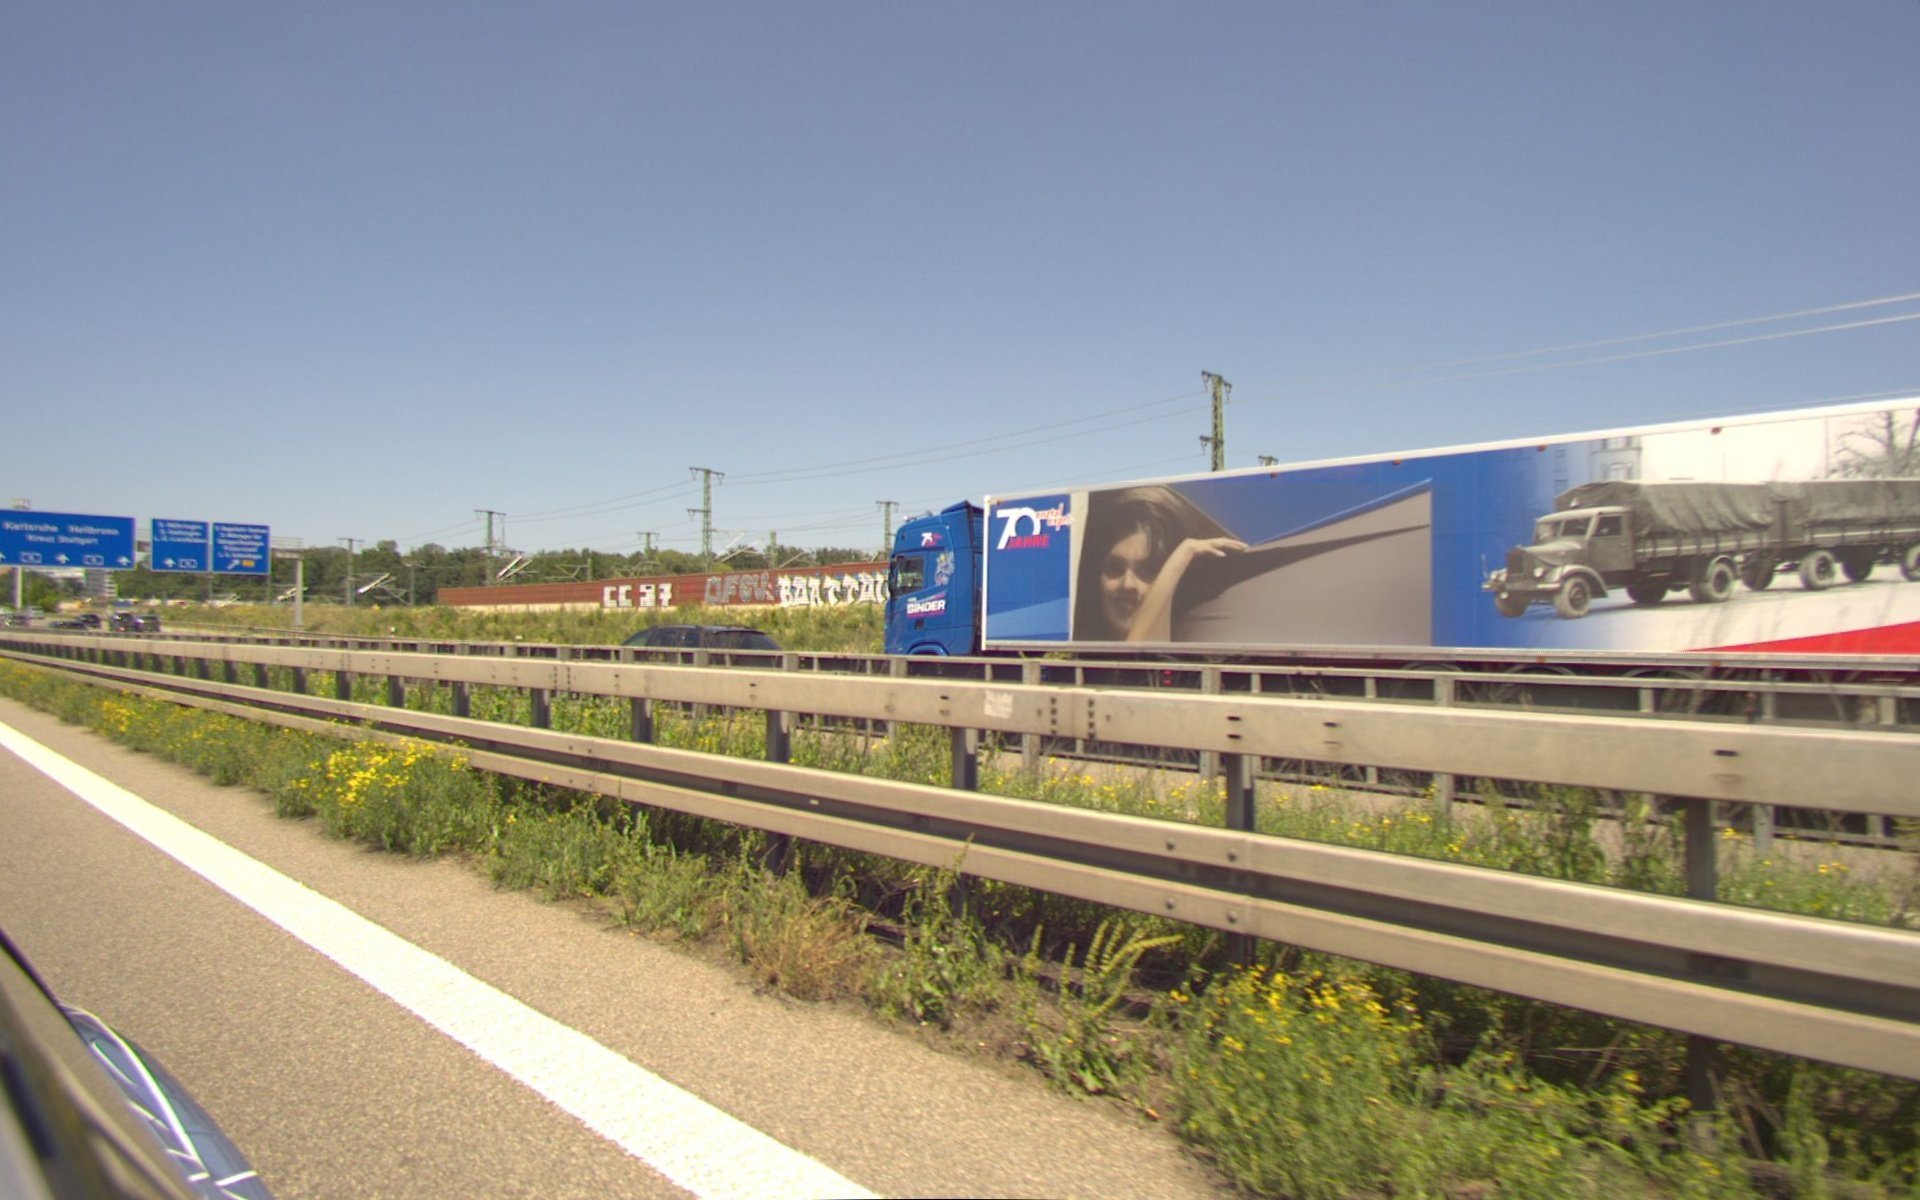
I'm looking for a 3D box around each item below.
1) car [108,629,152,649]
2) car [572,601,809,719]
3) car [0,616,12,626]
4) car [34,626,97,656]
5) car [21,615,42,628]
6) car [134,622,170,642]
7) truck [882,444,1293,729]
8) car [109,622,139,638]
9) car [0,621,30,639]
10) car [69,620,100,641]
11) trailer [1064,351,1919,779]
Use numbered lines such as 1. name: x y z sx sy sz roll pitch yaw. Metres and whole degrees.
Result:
1. car: -63.572 2.988 77.533 3.930 1.498 1.972 -1 -2 42
2. car: -4.501 0.869 16.568 4.191 1.646 1.701 0 1 41
3. car: -167.132 3.635 176.713 4.475 1.588 1.972 0 0 42
4. car: -47.162 2.137 53.318 4.383 1.475 1.973 -1 -1 42
5. car: -143.073 3.345 155.956 4.976 1.900 1.972 -1 0 42
6. car: -77.582 3.047 97.129 4.511 1.739 1.973 -1 0 41
7. truck: 2.143 -0.119 19.335 7.500 4.441 2.858 -2 -2 42
8. car: -95.051 3.379 115.058 4.512 1.739 1.972 -1 0 42
9. car: -89.932 2.846 96.107 4.186 1.708 1.972 -1 -2 42
10. car: -94.212 3.241 108.872 4.308 2.029 1.973 0 1 42
11. trailer: 7.268 -0.243 14.776 12.086 4.441 2.858 -2 -2 42
